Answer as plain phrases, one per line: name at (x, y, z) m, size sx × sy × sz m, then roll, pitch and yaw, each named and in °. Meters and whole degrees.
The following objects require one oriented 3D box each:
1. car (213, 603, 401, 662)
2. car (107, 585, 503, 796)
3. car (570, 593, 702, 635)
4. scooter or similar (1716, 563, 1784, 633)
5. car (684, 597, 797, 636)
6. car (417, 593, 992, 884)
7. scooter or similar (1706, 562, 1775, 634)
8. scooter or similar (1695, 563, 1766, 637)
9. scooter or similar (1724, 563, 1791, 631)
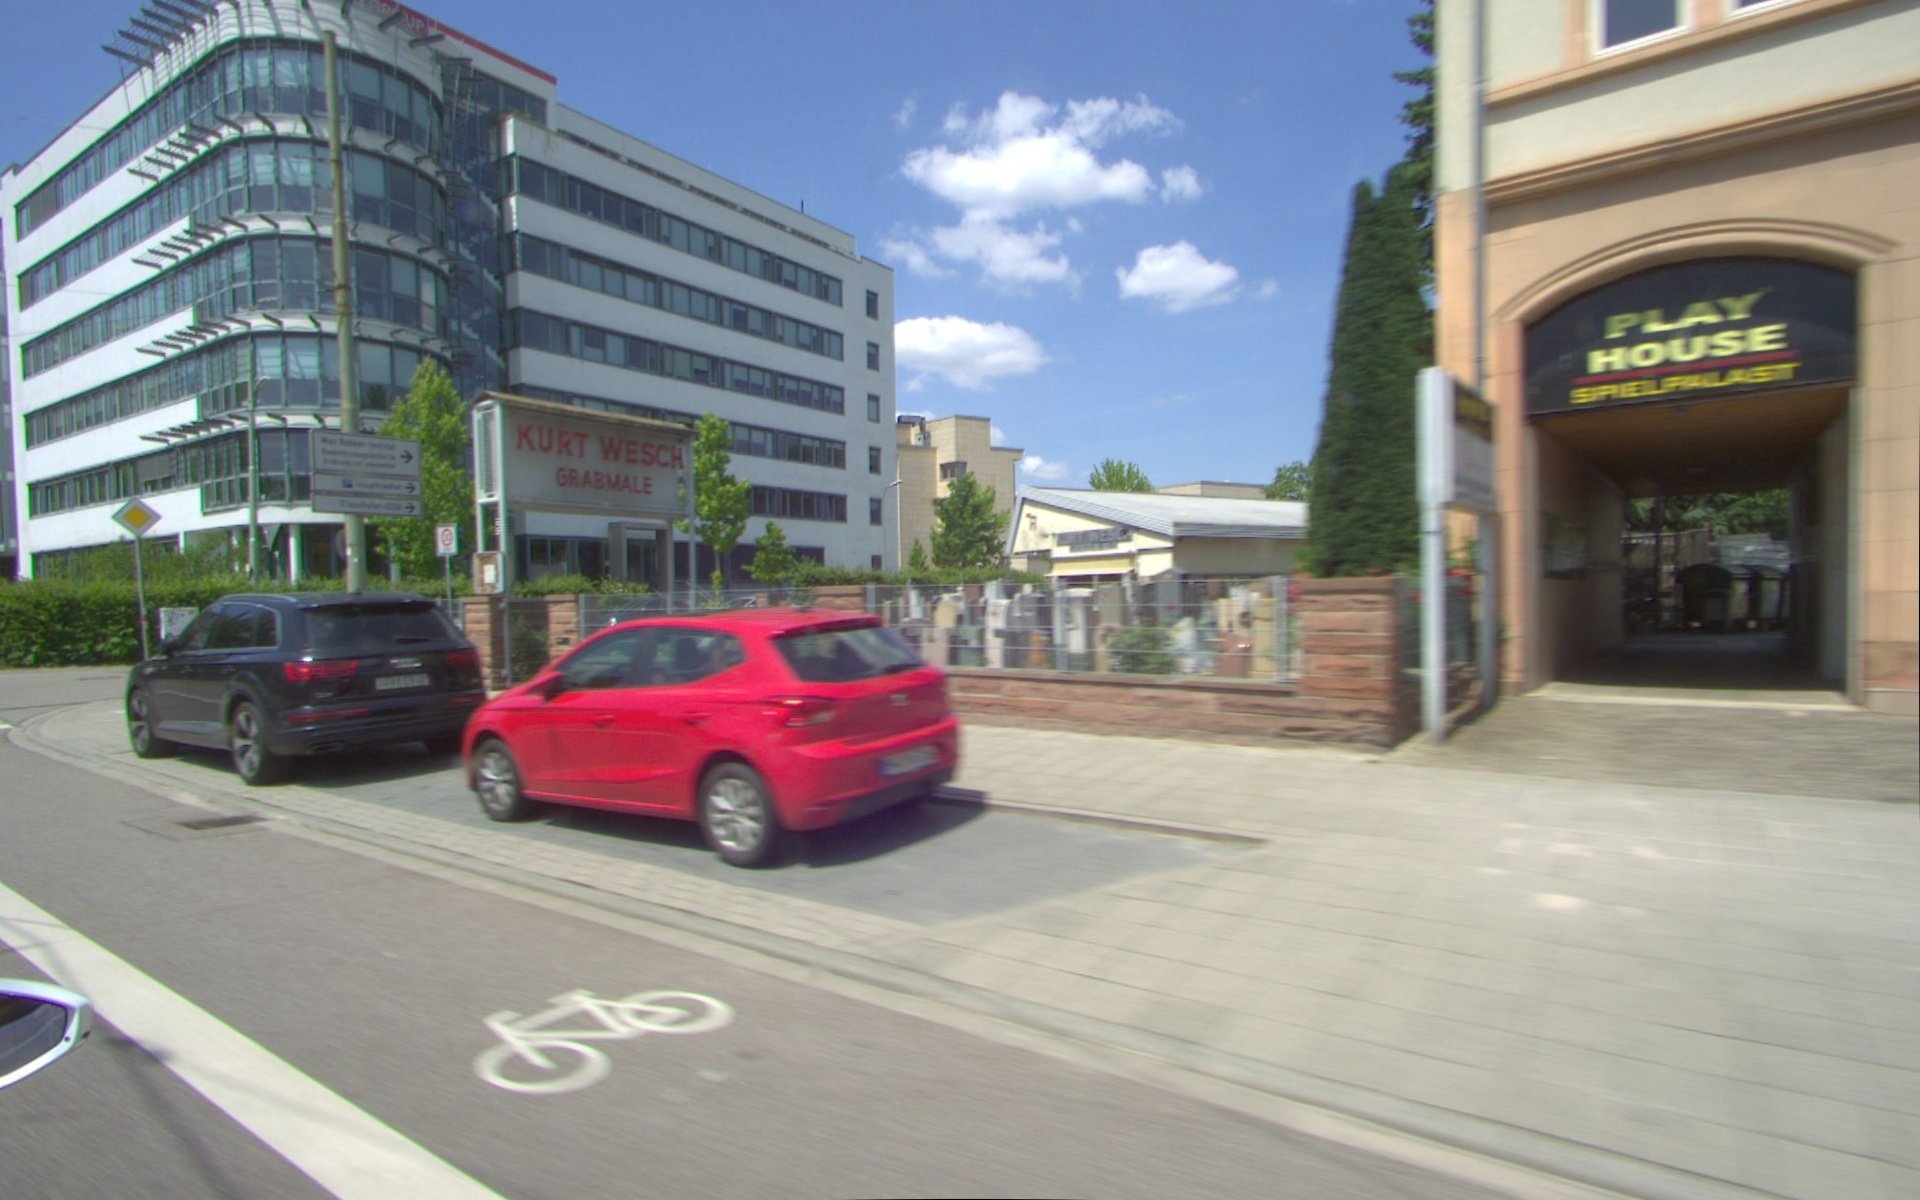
car at (-17.037, 0.799, 26.289) m, size 1.534 × 1.292 × 3.786 m, roll 0°, pitch 2°, yaw 34°
car at (-6.982, 0.759, 10.463) m, size 4.936 × 1.710 × 1.856 m, roll -1°, pitch 2°, yaw 37°
car at (-11.185, 0.457, 34.776) m, size 1.973 × 1.352 × 3.975 m, roll 0°, pitch 0°, yaw 35°
scooter or similar at (17.615, -0.037, 22.344) m, size 0.634 × 1.503 × 1.071 m, roll -5°, pitch 3°, yaw -40°
car at (-8.403, 0.592, 38.601) m, size 1.973 × 1.385 × 3.975 m, roll 0°, pitch 0°, yaw 35°
car at (-1.931, 0.749, 7.122) m, size 4.017 × 1.473 × 1.706 m, roll -1°, pitch 3°, yaw 34°
scooter or similar at (17.030, -0.036, 21.856) m, size 0.634 × 1.503 × 1.071 m, roll -5°, pitch 3°, yaw -40°
scooter or similar at (16.420, 0.004, 21.347) m, size 0.634 × 1.503 × 1.070 m, roll -5°, pitch 3°, yaw -41°
scooter or similar at (18.144, -0.066, 22.792) m, size 0.634 × 1.503 × 1.071 m, roll -5°, pitch 3°, yaw -40°
